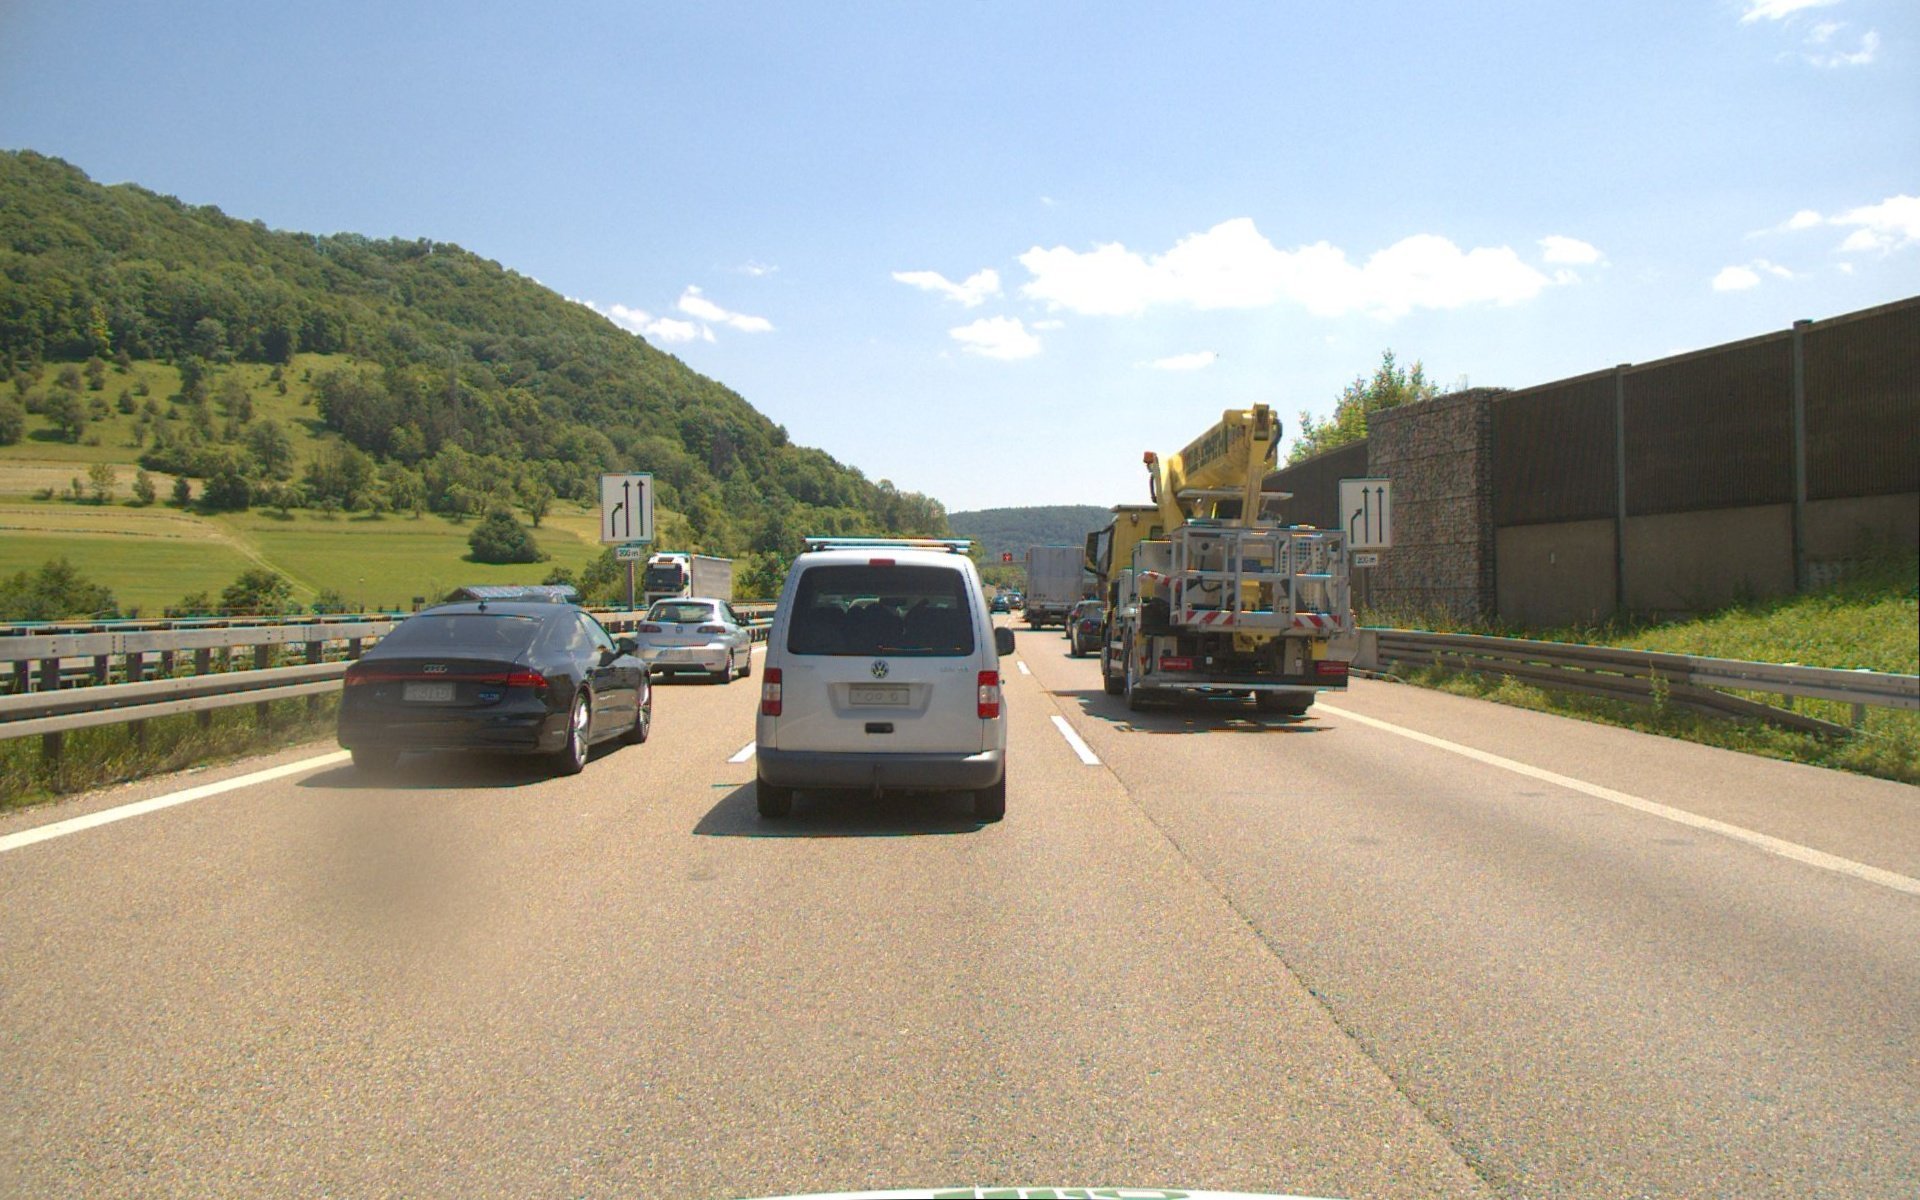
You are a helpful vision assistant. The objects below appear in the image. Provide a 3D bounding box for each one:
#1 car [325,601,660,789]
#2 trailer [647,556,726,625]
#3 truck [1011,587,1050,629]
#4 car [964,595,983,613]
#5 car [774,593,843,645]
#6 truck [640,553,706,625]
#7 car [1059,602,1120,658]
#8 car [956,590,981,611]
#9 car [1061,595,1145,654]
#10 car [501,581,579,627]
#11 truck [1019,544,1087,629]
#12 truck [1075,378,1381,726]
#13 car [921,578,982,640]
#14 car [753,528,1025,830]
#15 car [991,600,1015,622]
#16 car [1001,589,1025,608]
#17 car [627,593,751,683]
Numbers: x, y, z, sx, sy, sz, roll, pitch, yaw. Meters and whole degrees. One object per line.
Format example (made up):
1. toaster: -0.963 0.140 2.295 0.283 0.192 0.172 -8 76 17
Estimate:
1. car: -4.013 0.723 15.106 1.764 1.415 4.968 0 0 -2
2. trailer: -17.954 -0.541 109.544 2.796 4.264 13.615 1 0 1
3. truck: 4.386 0.471 103.419 2.340 2.585 5.941 0 0 2
4. car: 1.423 0.466 174.515 1.953 1.837 3.999 1 0 -1
5. car: -4.637 0.566 51.059 1.886 1.525 3.998 1 0 -2
6. truck: -17.904 -0.656 103.567 2.740 4.306 7.231 1 0 1
7. car: 4.923 1.131 63.342 1.953 2.049 3.999 0 0 -1
8. car: 0.779 0.047 152.310 2.072 1.859 3.998 1 0 -2
9. car: 3.694 0.614 43.362 1.750 1.484 3.769 0 0 -2
10. car: -15.223 0.136 60.134 1.811 1.638 4.078 0 0 -1
11. truck: 4.461 -0.598 80.734 2.880 3.890 8.236 1 0 0
12. truck: 3.412 -0.566 23.496 2.649 4.011 8.718 0 0 -2
13. car: -0.320 0.294 56.195 1.953 2.010 3.998 0 0 -2
14. car: -0.517 0.492 12.447 1.721 1.900 3.998 0 0 -2
15. car: 3.582 0.953 139.181 1.952 1.779 4.000 1 0 1
16. car: 5.193 -0.119 161.947 2.072 1.859 3.998 1 0 -2
17. car: -4.699 0.623 29.133 1.661 1.470 3.860 0 0 -2
